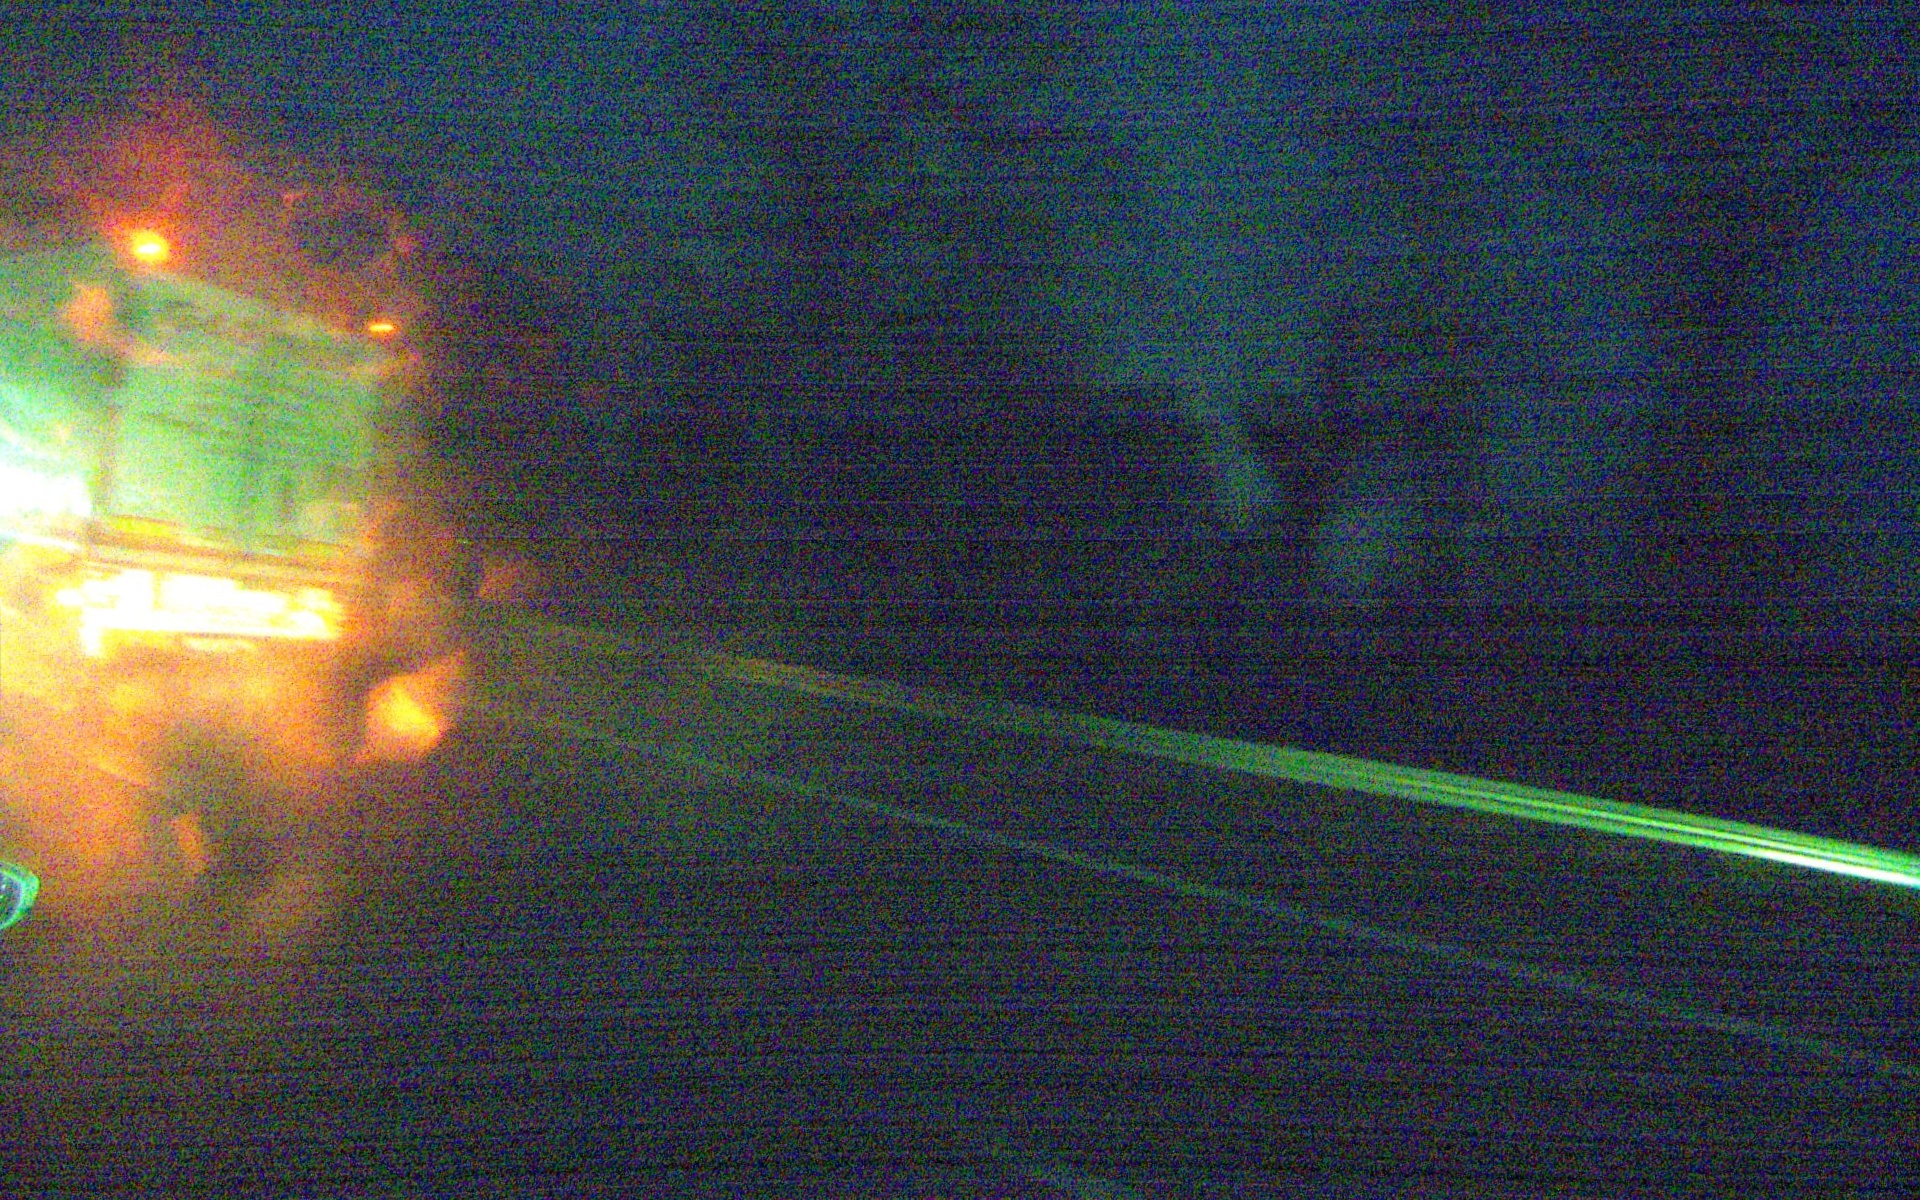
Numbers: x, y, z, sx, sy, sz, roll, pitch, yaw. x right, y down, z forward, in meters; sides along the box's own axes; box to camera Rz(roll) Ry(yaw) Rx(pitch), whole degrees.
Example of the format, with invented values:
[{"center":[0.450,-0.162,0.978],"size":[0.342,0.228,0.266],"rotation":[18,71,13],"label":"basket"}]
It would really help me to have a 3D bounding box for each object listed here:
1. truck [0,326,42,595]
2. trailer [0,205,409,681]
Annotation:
[{"center":[-18.271,-2.599,16.628],"size":[5.202,4.292,2.716],"rotation":[7,0,29],"label":"truck"},{"center":[-12.888,-1.978,13.559],"size":[13.143,4.299,2.745],"rotation":[7,-1,30],"label":"trailer"}]
